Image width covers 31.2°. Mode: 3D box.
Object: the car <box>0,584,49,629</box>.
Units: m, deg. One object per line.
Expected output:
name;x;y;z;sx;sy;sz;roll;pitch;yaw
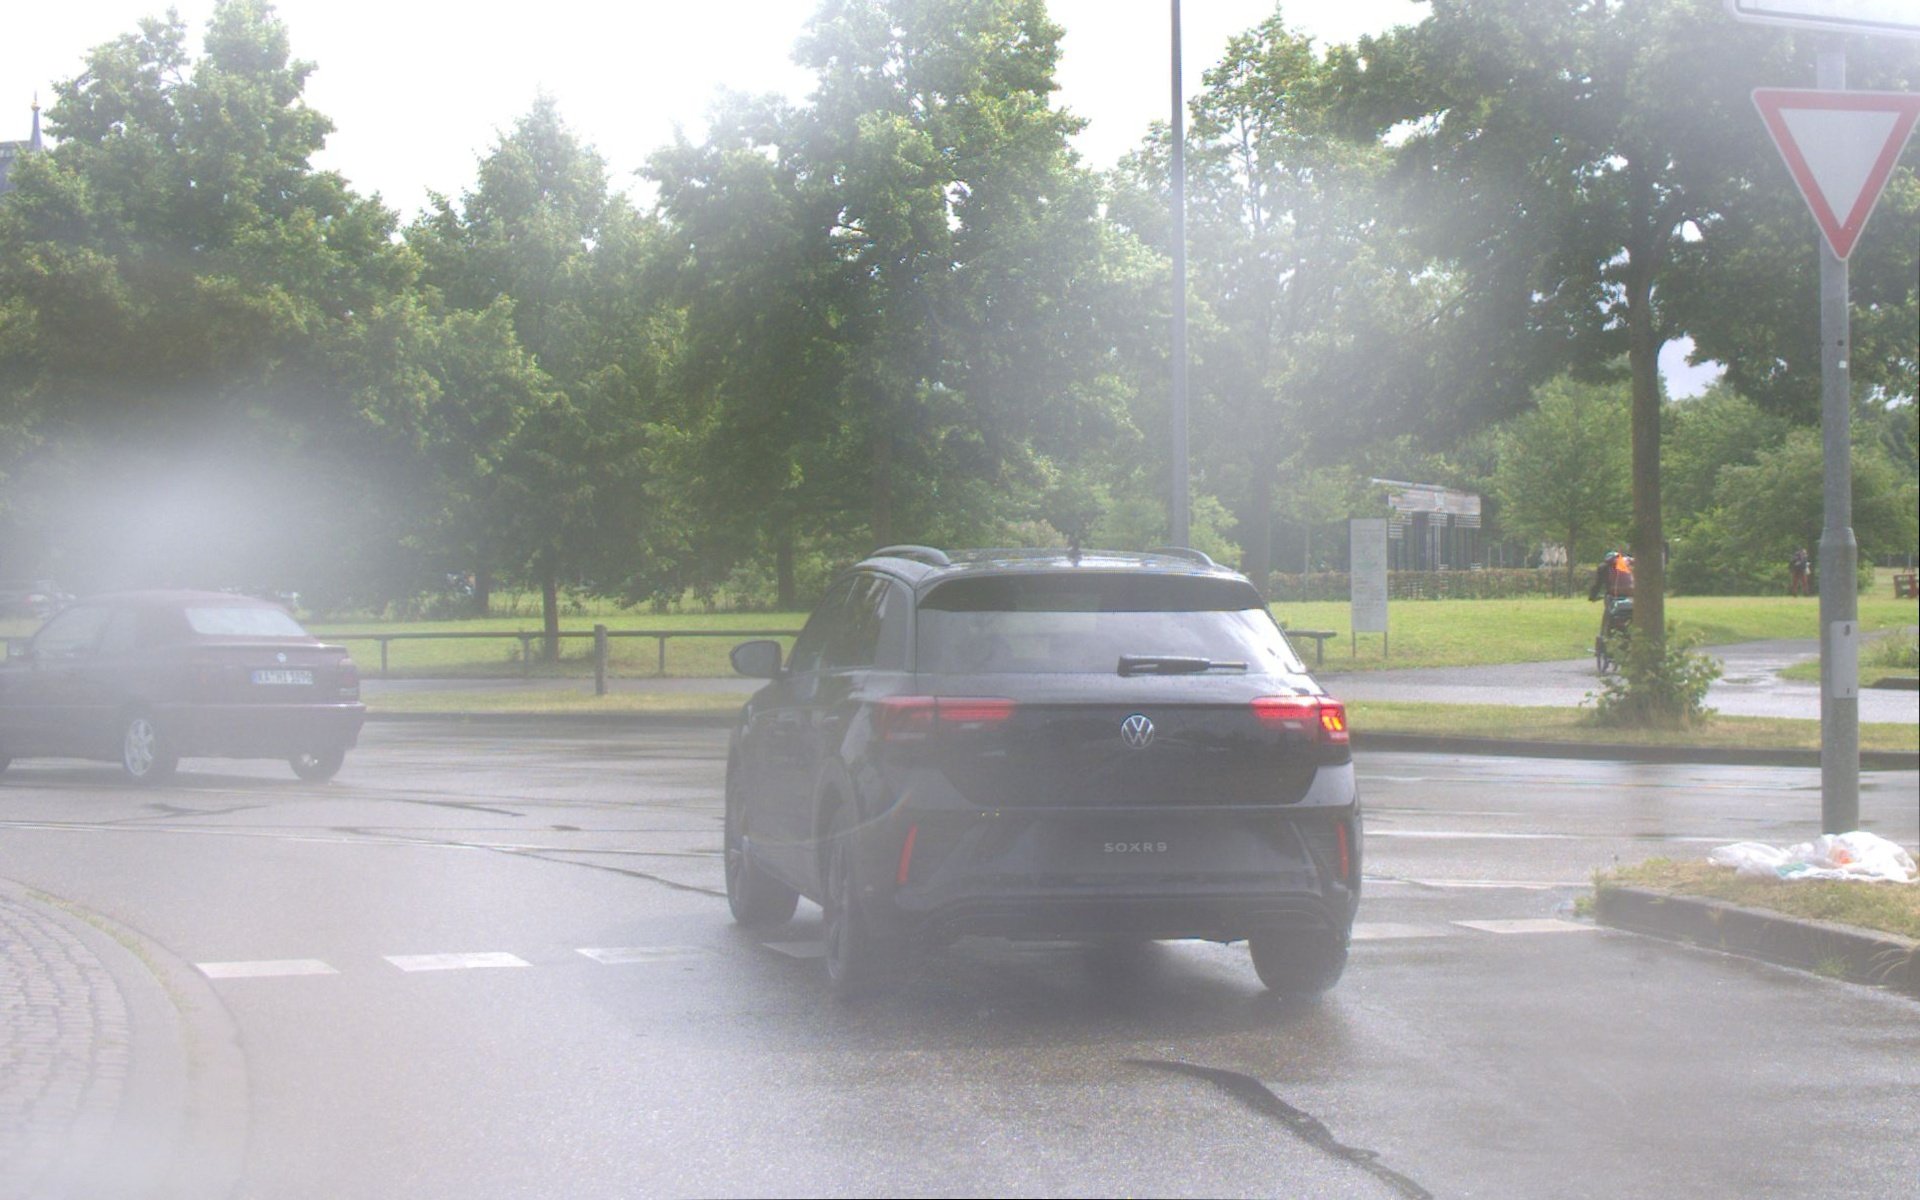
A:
car;-34.997;0.257;123.671;3.970;1.554;1.848;-1;0;20

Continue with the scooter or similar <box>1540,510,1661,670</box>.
scooter or similar;8.381;-0.092;44.840;1.237;2.007;3.406;0;-1;16

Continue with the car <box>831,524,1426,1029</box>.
car;0.468;0.540;12.985;1.897;1.612;4.000;0;1;-2

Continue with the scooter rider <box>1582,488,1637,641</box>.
scooter rider;8.647;-0.466;45.773;0.704;2.007;0.770;0;-1;10

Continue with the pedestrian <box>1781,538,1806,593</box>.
pedestrian;26.597;-1.099;109.739;0.598;1.726;0.604;0;-1;33

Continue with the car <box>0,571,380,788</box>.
car;-6.304;0.546;26.350;1.715;1.457;3.998;-2;2;-44
